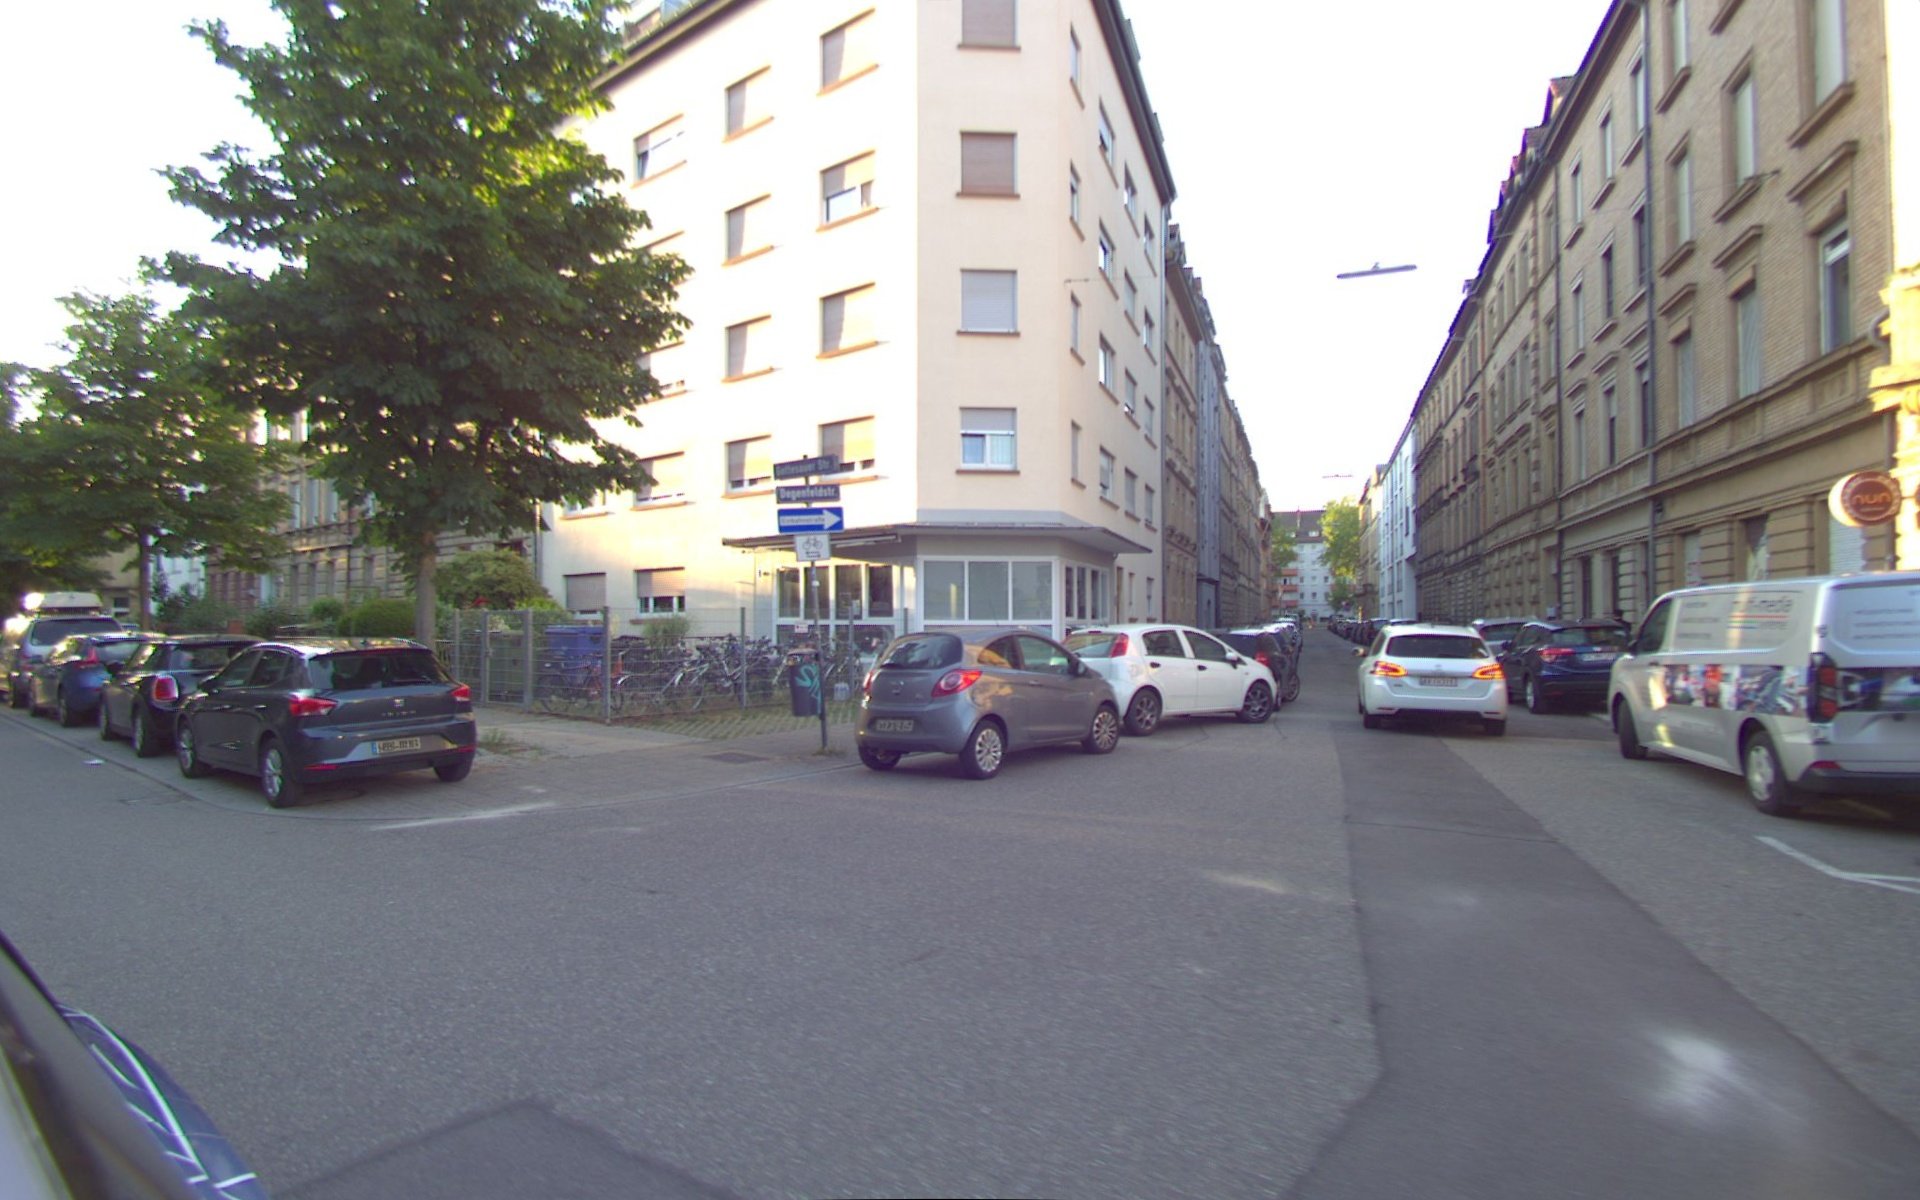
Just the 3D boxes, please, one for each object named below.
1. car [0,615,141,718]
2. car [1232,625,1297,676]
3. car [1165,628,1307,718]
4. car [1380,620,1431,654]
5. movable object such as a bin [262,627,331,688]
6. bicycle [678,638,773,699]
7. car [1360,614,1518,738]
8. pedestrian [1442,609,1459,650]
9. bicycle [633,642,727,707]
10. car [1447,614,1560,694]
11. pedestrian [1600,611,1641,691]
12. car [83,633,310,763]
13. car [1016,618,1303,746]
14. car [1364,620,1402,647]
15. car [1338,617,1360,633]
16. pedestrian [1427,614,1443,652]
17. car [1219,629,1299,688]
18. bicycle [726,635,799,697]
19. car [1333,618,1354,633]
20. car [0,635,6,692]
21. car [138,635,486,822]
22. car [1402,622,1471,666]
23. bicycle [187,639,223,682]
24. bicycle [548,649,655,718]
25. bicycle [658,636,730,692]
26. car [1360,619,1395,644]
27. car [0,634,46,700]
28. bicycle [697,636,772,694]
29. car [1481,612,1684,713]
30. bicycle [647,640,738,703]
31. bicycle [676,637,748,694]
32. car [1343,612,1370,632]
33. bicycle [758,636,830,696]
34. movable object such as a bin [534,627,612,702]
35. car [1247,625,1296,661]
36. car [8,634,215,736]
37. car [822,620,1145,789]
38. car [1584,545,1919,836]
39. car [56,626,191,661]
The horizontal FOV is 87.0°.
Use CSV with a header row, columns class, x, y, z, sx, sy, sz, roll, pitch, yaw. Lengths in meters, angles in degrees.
class,x,y,z,sx,sy,sz,roll,pitch,yaw
car,-18.041,1.226,20.117,4.618,1.792,1.843,-1,-1,39
car,9.513,1.548,31.537,1.773,1.478,3.976,-1,-2,18
car,5.193,1.260,18.703,1.986,1.450,4.047,-2,-2,23
car,21.610,1.788,49.232,1.875,1.569,3.975,-1,-2,18
movable object such as a bin,-16.251,1.379,24.773,1.549,1.398,0.937,-1,0,37
bicycle,-4.392,1.277,19.007,1.689,1.100,0.385,-1,0,4
car,6.944,1.025,15.036,1.809,1.534,4.563,0,-2,22
pedestrian,22.006,1.338,45.388,0.589,1.820,0.495,-1,0,18
bicycle,-4.983,1.328,18.071,1.528,1.100,0.500,-1,0,3
car,12.058,1.165,22.675,1.572,1.635,3.974,-1,-2,19
pedestrian,14.407,1.104,22.092,0.589,1.699,0.495,-1,0,18
car,-10.341,1.186,13.603,4.142,1.431,1.723,-1,-1,43
car,3.001,1.079,14.899,4.007,1.520,1.978,-1,0,-38
car,24.398,1.945,58.462,1.774,1.470,3.974,-1,-2,19
car,36.904,2.397,96.092,1.774,1.470,3.974,-1,-2,19
pedestrian,21.423,1.495,45.647,0.589,1.699,0.495,-1,0,18
car,7.936,1.507,26.765,1.859,1.419,3.976,-1,-2,18
bicycle,-3.998,1.310,20.559,0.499,1.150,1.531,-1,0,34
car,37.647,2.526,99.401,1.774,1.470,3.974,-1,-2,19
car,-26.693,1.685,26.938,3.294,1.505,1.424,-1,-1,38
car,-6.765,1.125,10.361,4.458,1.473,1.658,-1,-1,38
car,16.948,1.549,36.146,1.774,1.470,3.974,-1,-2,19
bicycle,-20.898,1.658,27.992,1.632,1.118,0.451,-1,0,41
bicycle,-6.006,1.364,16.899,1.927,1.033,0.681,-1,0,35
bicycle,-5.691,1.356,21.689,0.499,1.100,1.531,-1,0,34
car,25.901,1.930,62.844,1.774,1.470,3.974,-1,-2,19
car,-23.123,1.552,23.863,4.019,1.452,1.711,-1,-1,38
bicycle,-4.664,1.325,21.049,0.499,1.100,1.617,-1,0,34
car,10.836,1.048,17.972,2.004,1.583,3.899,-1,-2,15
bicycle,-4.911,1.308,18.586,1.528,1.100,0.500,-1,0,3
bicycle,-5.214,1.362,21.359,0.499,1.100,1.531,-1,0,34
car,30.154,1.702,77.034,1.774,1.470,3.974,-1,-2,19
bicycle,-3.287,1.294,20.172,0.499,1.100,1.531,-1,0,34
movable object such as a bin,-7.469,1.220,19.521,1.398,1.362,0.857,-1,0,42
car,12.793,1.739,41.515,1.808,1.419,3.976,-1,-2,18
car,-14.270,1.312,16.934,4.586,1.423,1.843,-1,-1,39
car,0.382,1.016,11.265,1.843,1.519,3.472,-3,-2,39
car,7.828,0.668,9.316,2.189,1.990,5.265,-1,-2,17
car,-36.461,1.867,44.220,1.625,1.351,4.356,-1,-1,40
